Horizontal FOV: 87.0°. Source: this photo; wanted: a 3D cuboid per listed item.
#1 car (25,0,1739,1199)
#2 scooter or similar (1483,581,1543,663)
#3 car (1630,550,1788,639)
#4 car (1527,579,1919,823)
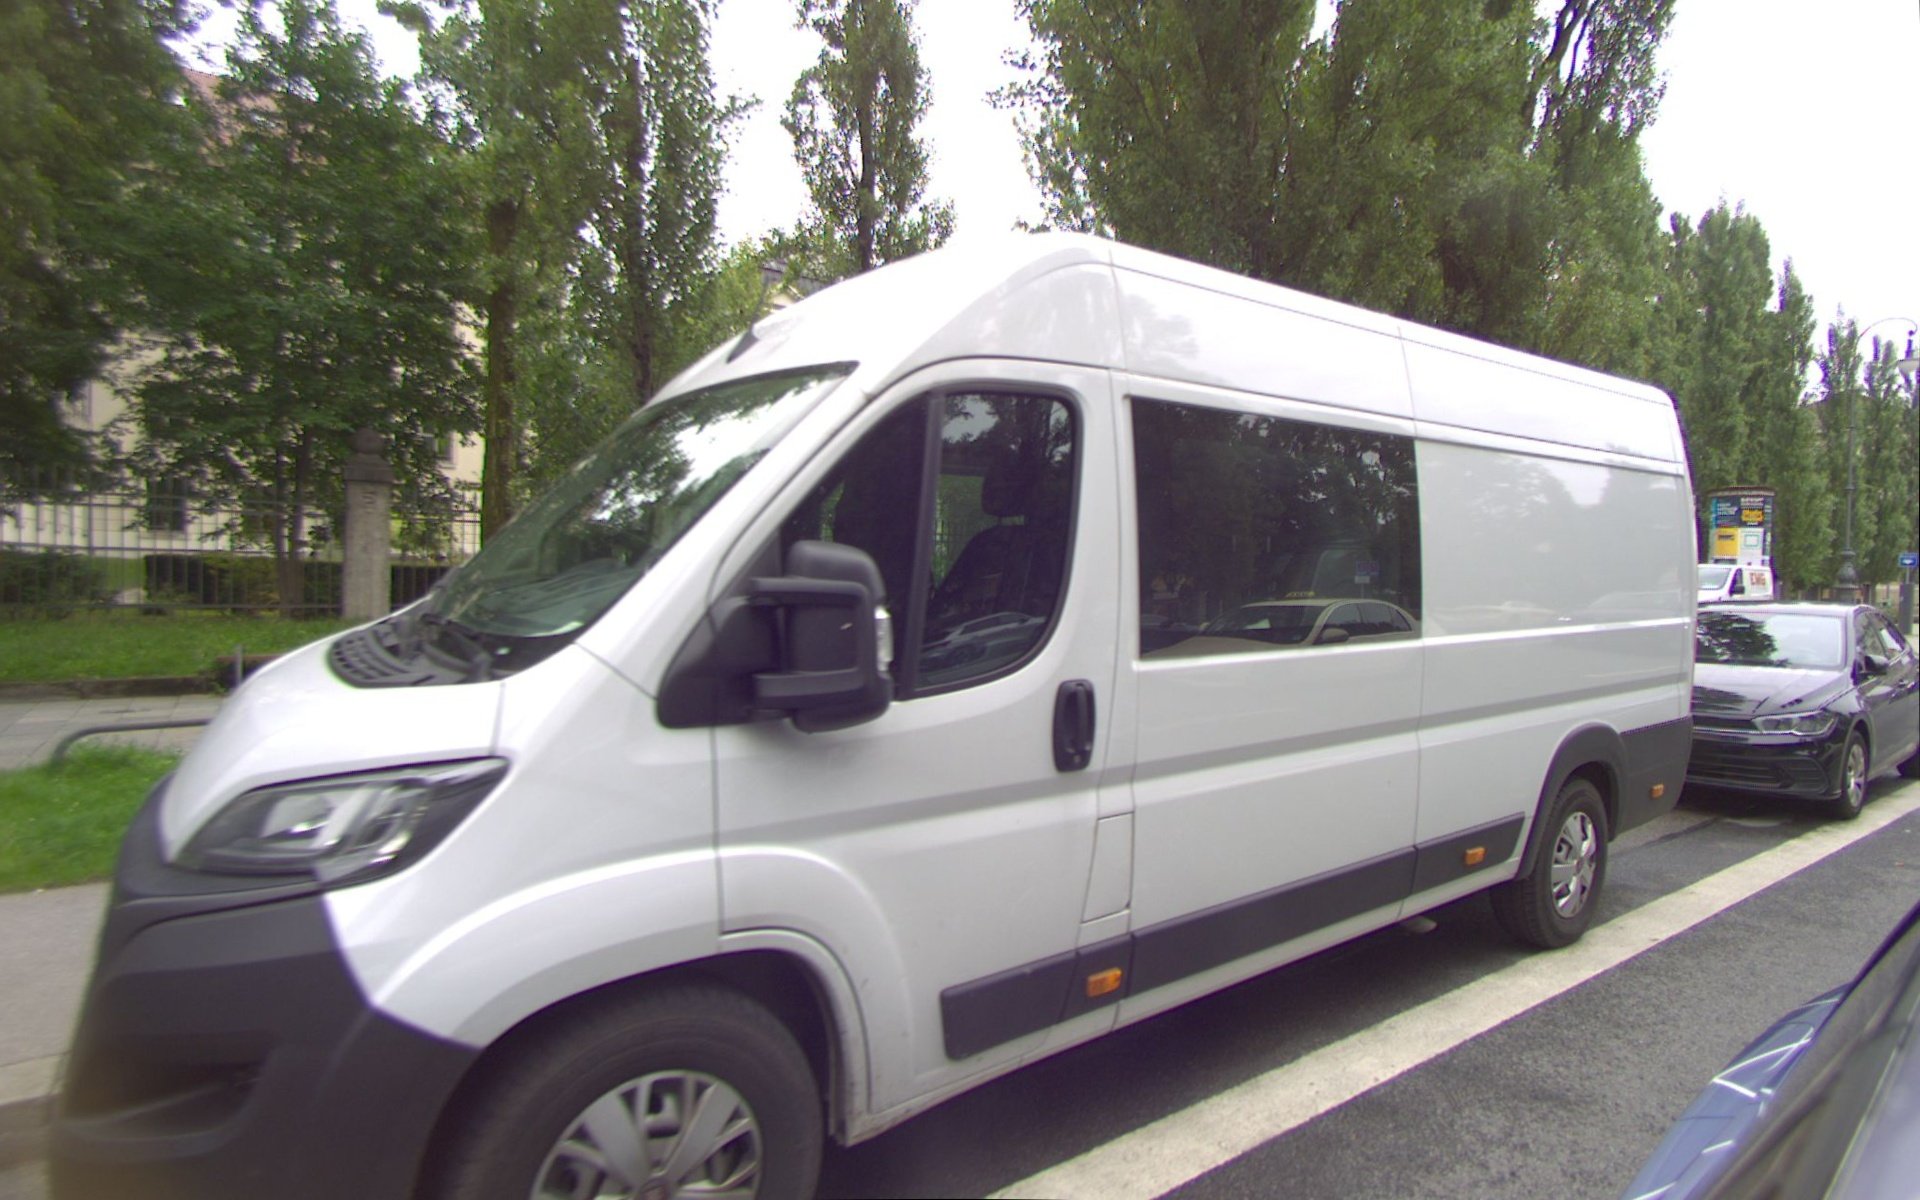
[{"bbox_3d":[0.707,0.087,3.944,6.166,2.510,2.080,0,0,-36],"label":"car"},{"bbox_3d":[8.907,0.341,16.285,1.163,1.281,0.337,0,1,-35],"label":"scooter or similar"},{"bbox_3d":[18.397,-0.127,24.785,4.795,1.969,1.885,0,0,-38],"label":"car"},{"bbox_3d":[6.307,0.613,7.965,3.925,1.468,1.759,0,-1,-37],"label":"car"}]
